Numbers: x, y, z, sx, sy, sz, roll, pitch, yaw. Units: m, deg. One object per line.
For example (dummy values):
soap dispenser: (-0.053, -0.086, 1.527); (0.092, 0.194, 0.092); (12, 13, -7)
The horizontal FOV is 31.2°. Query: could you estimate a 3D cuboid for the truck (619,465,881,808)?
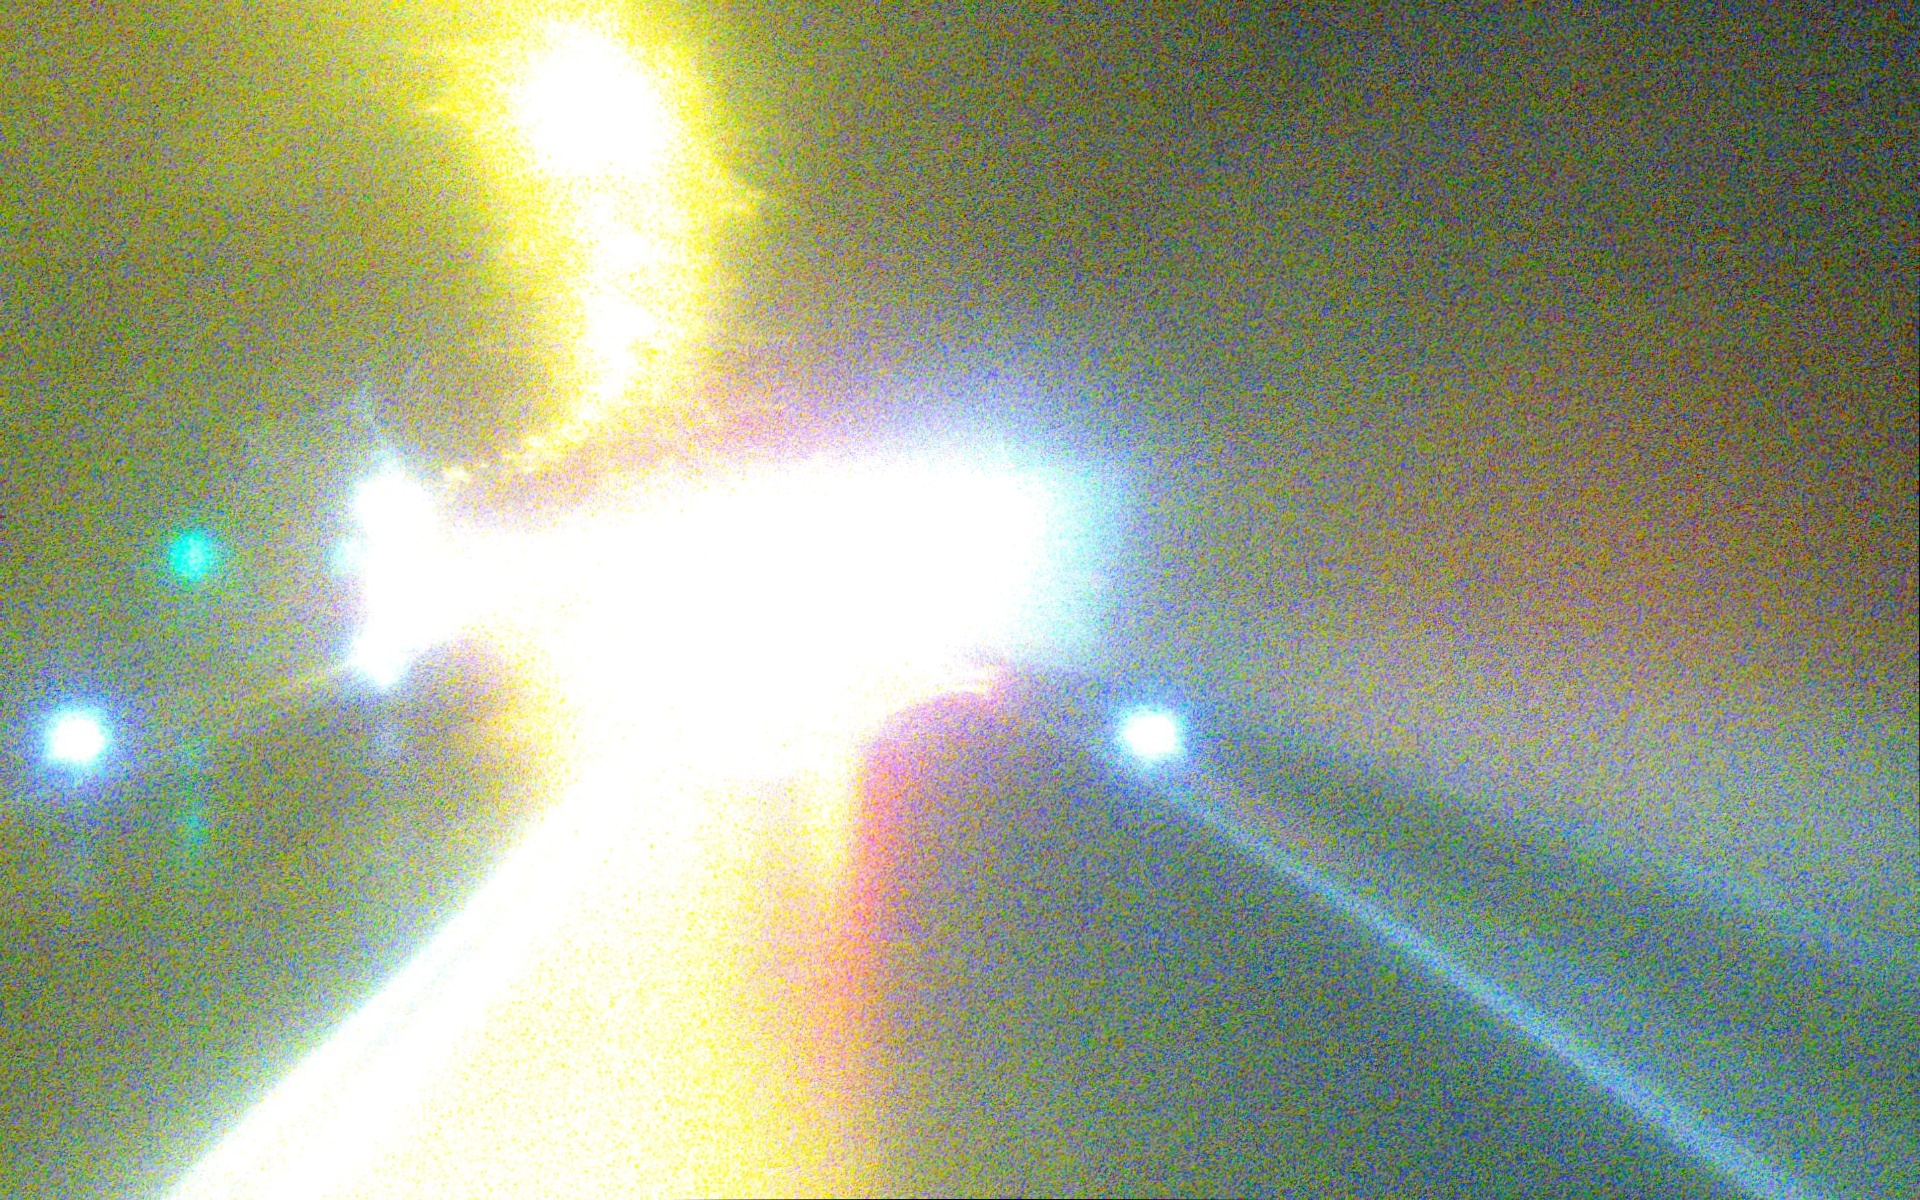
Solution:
truck: (-2.031, 0.269, 34.327); (2.262, 3.000, 7.416); (1, 1, -3)
